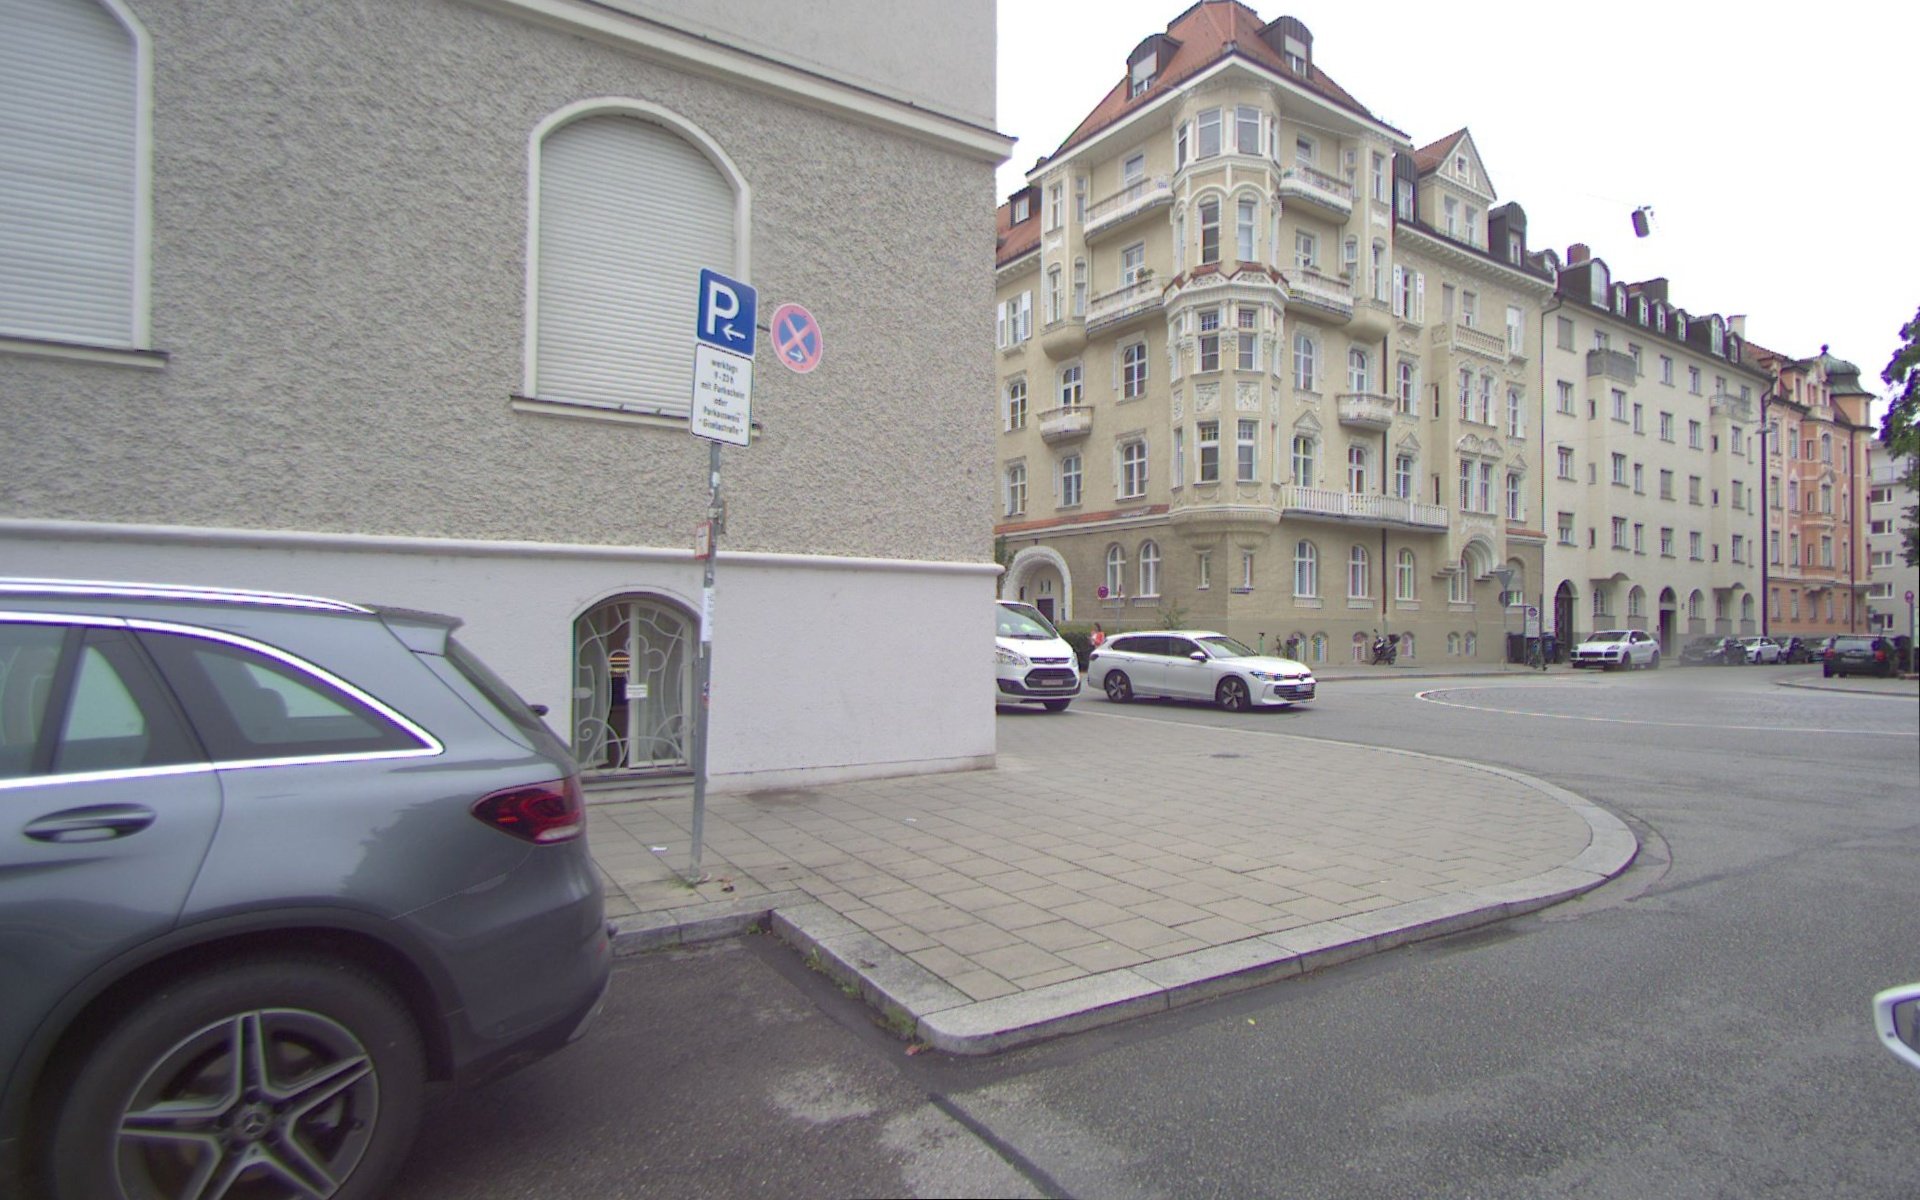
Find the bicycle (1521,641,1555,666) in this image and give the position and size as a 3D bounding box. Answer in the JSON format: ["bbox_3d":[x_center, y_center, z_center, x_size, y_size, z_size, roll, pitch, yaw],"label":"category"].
[{"bbox_3d":[24.596,2.264,42.700,1.812,1.063,0.559,1,-2,-36],"label":"bicycle"}]

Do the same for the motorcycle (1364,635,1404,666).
[{"bbox_3d":[16.875,1.991,39.973,1.812,1.191,0.594,1,-2,-36],"label":"motorcycle"}]

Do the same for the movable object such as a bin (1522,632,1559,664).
[{"bbox_3d":[26.853,2.231,46.450,1.161,1.444,1.085,1,-2,-33],"label":"movable object such as a bin"}]

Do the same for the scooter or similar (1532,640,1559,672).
[{"bbox_3d":[23.163,2.213,39.765,0.458,1.209,1.216,1,-1,5],"label":"scooter or similar"}]

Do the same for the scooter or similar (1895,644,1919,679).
[{"bbox_3d":[30.802,1.988,32.314,0.984,1.103,0.390,0,-1,29],"label":"scooter or similar"}]

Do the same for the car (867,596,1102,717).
[{"bbox_3d":[0.280,0.954,18.482,1.905,1.905,4.866,1,-2,-33],"label":"car"}]

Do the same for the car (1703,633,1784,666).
[{"bbox_3d":[40.038,2.514,51.308,4.361,1.602,1.964,1,-1,-33],"label":"car"}]

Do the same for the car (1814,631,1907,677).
[{"bbox_3d":[31.907,1.894,35.559,4.386,1.525,1.804,2,-3,-40],"label":"car"}]

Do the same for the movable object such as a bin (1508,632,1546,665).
[{"bbox_3d":[25.862,2.211,45.801,1.161,1.444,1.085,1,-2,-33],"label":"movable object such as a bin"}]

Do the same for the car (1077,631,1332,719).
[{"bbox_3d":[4.758,1.404,20.184,1.876,1.468,4.834,2,-2,-40],"label":"car"}]

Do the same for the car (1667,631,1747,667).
[{"bbox_3d":[36.105,2.347,48.496,4.671,1.637,1.960,2,-1,-38],"label":"car"}]

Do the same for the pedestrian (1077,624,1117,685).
[{"bbox_3d":[3.834,1.510,28.128,0.849,1.657,0.724,2,-2,-41],"label":"pedestrian"}]

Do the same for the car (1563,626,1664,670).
[{"bbox_3d":[27.614,2.001,42.389,4.793,1.723,1.962,2,-1,-36],"label":"car"}]

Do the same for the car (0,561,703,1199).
[{"bbox_3d":[-3.074,0.748,2.445,4.447,1.623,1.737,2,-3,-32],"label":"car"}]

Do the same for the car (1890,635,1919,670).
[{"bbox_3d":[43.775,2.372,45.564,4.081,1.525,1.779,2,-3,-40],"label":"car"}]

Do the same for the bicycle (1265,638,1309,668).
[{"bbox_3d":[11.942,1.933,36.690,1.812,1.063,0.559,1,-2,-36],"label":"bicycle"}]

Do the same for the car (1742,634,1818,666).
[{"bbox_3d":[44.255,2.672,54.200,4.361,1.602,1.964,1,-1,-33],"label":"car"}]

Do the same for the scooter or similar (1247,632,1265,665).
[{"bbox_3d":[10.418,1.680,35.328,0.459,1.130,1.215,0,-1,23],"label":"scooter or similar"}]

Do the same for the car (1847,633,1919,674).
[{"bbox_3d":[35.945,2.049,38.865,4.199,1.525,1.779,2,-3,-40],"label":"car"}]

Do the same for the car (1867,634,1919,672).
[{"bbox_3d":[39.390,2.191,41.848,4.081,1.525,1.779,2,-3,-40],"label":"car"}]

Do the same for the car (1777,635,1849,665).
[{"bbox_3d":[48.364,2.823,56.956,4.361,1.602,1.964,1,-1,-33],"label":"car"}]
